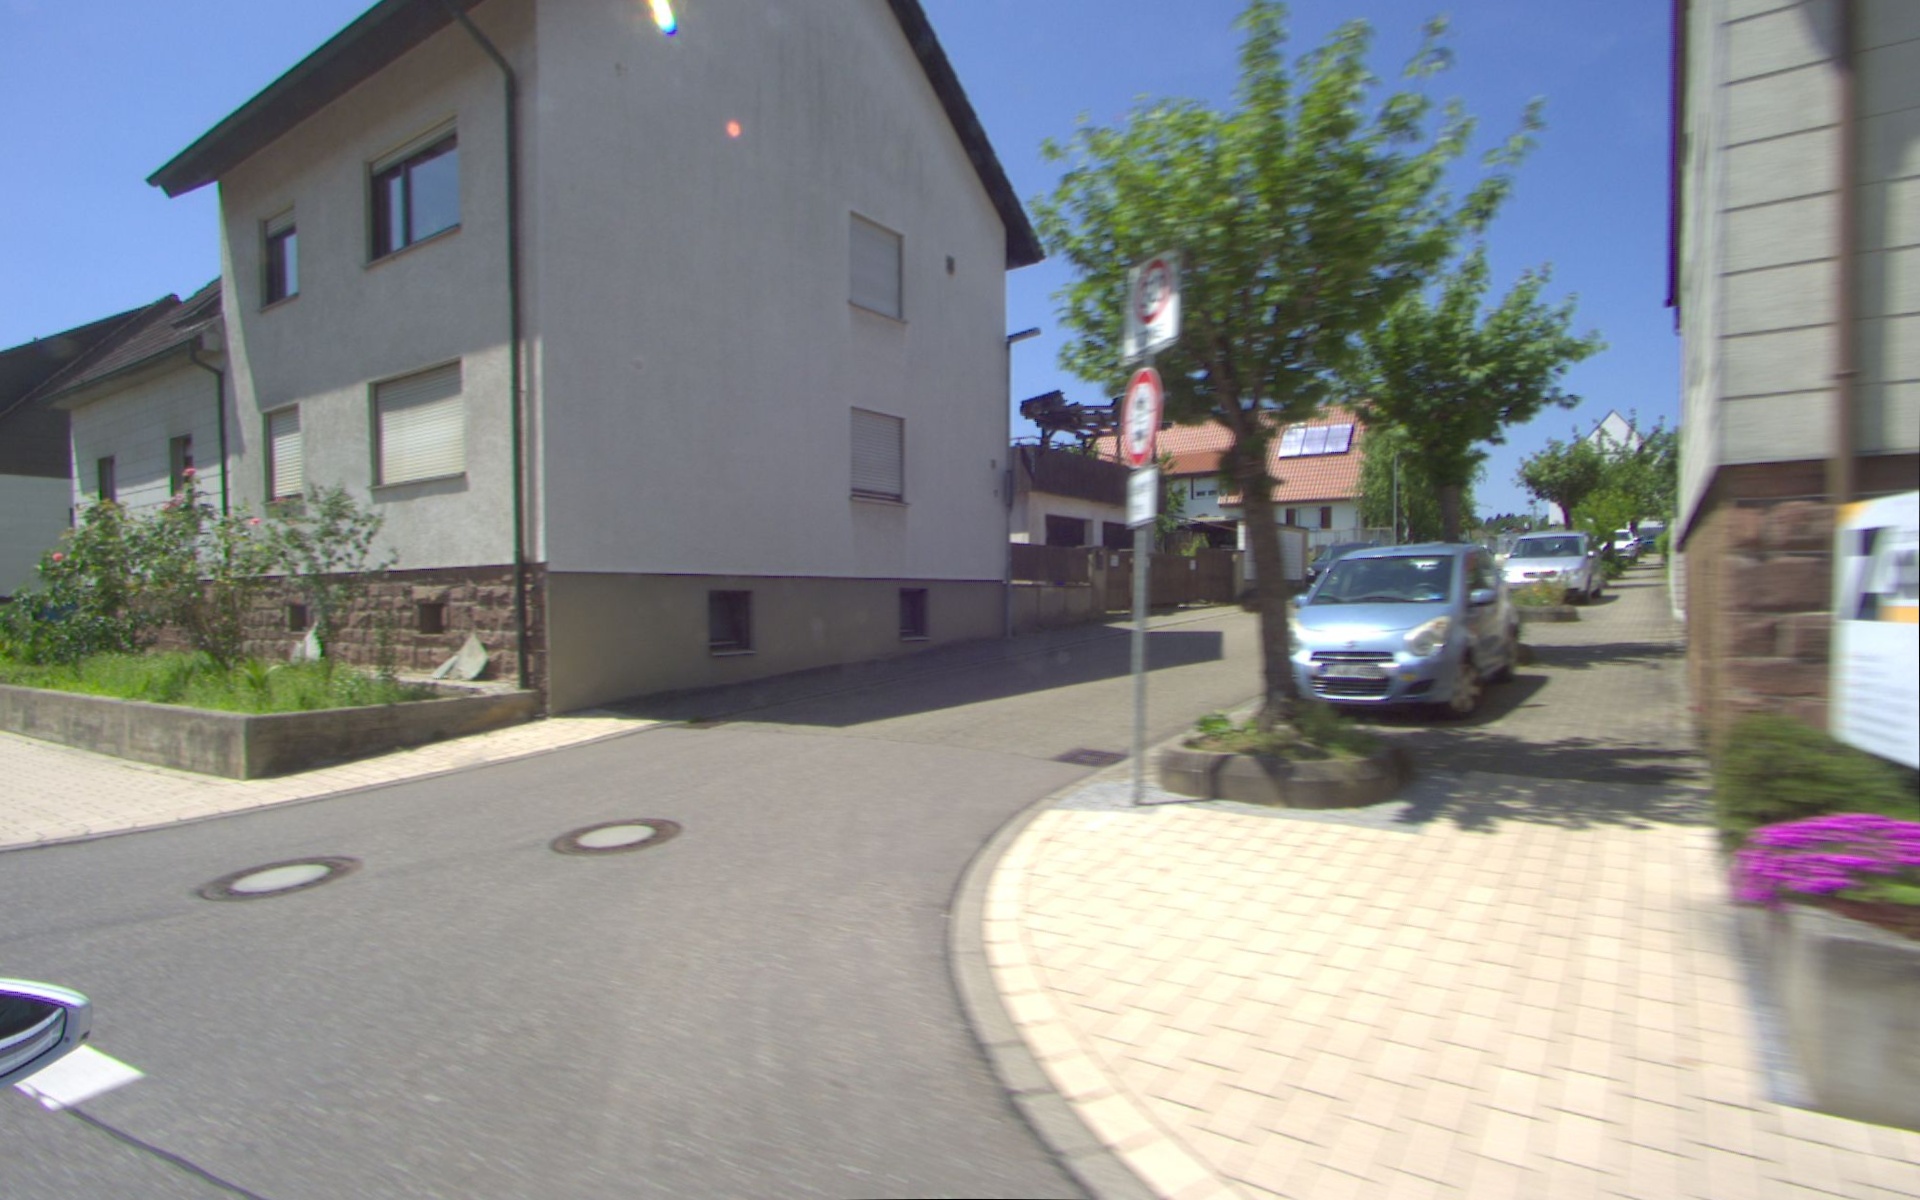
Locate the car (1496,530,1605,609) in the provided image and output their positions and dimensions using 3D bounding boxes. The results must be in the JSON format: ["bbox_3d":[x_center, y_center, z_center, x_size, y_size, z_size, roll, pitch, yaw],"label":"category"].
[{"bbox_3d":[13.793,-0.732,23.277,1.879,1.602,4.371,-2,2,34],"label":"car"}]

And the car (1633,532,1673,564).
[{"bbox_3d":[40.878,-3.047,59.125,1.879,1.740,4.262,-2,2,34],"label":"car"}]

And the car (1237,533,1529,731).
[{"bbox_3d":[4.220,0.180,9.671,1.777,1.513,3.499,-2,3,37],"label":"car"}]

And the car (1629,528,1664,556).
[{"bbox_3d":[47.034,-3.964,68.614,1.879,1.740,4.262,-2,2,34],"label":"car"}]

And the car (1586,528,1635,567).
[{"bbox_3d":[31.742,-2.560,48.837,1.879,1.740,4.262,-2,2,34],"label":"car"}]

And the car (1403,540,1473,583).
[{"bbox_3d":[19.009,-1.543,39.737,1.879,1.504,4.262,-2,2,34],"label":"car"}]

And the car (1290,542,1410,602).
[{"bbox_3d":[11.104,-0.824,28.353,1.882,1.504,4.254,-2,2,40],"label":"car"}]
